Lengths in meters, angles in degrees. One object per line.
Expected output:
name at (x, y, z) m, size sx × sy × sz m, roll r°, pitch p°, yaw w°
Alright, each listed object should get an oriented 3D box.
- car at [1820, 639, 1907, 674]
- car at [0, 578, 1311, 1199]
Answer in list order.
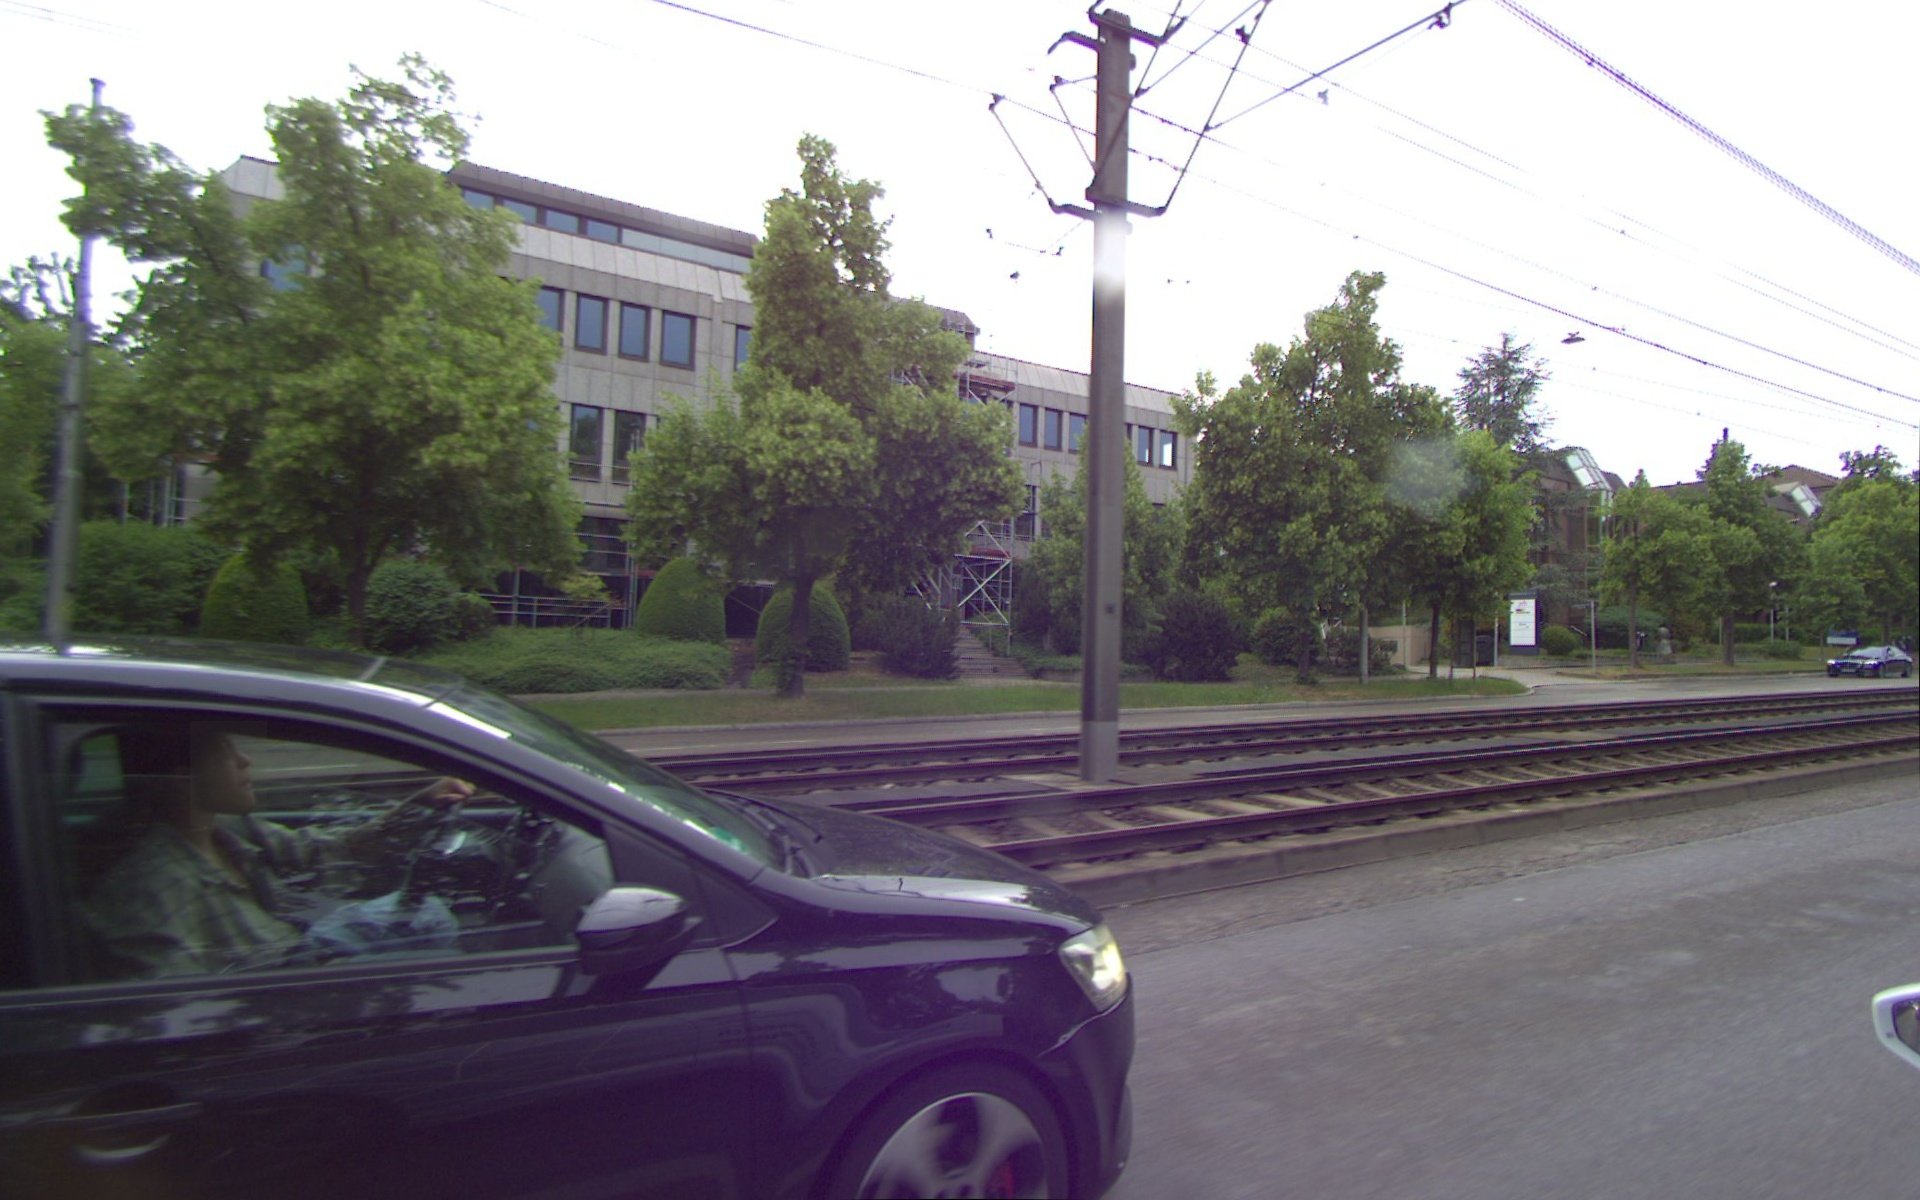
car at (41.989, 2.575, 46.640) m, size 4.570 × 1.550 × 1.785 m, roll 1°, pitch -2°, yaw -32°
car at (-1.263, 0.767, 2.224) m, size 3.920 × 1.505 × 1.785 m, roll 1°, pitch -3°, yaw -32°
